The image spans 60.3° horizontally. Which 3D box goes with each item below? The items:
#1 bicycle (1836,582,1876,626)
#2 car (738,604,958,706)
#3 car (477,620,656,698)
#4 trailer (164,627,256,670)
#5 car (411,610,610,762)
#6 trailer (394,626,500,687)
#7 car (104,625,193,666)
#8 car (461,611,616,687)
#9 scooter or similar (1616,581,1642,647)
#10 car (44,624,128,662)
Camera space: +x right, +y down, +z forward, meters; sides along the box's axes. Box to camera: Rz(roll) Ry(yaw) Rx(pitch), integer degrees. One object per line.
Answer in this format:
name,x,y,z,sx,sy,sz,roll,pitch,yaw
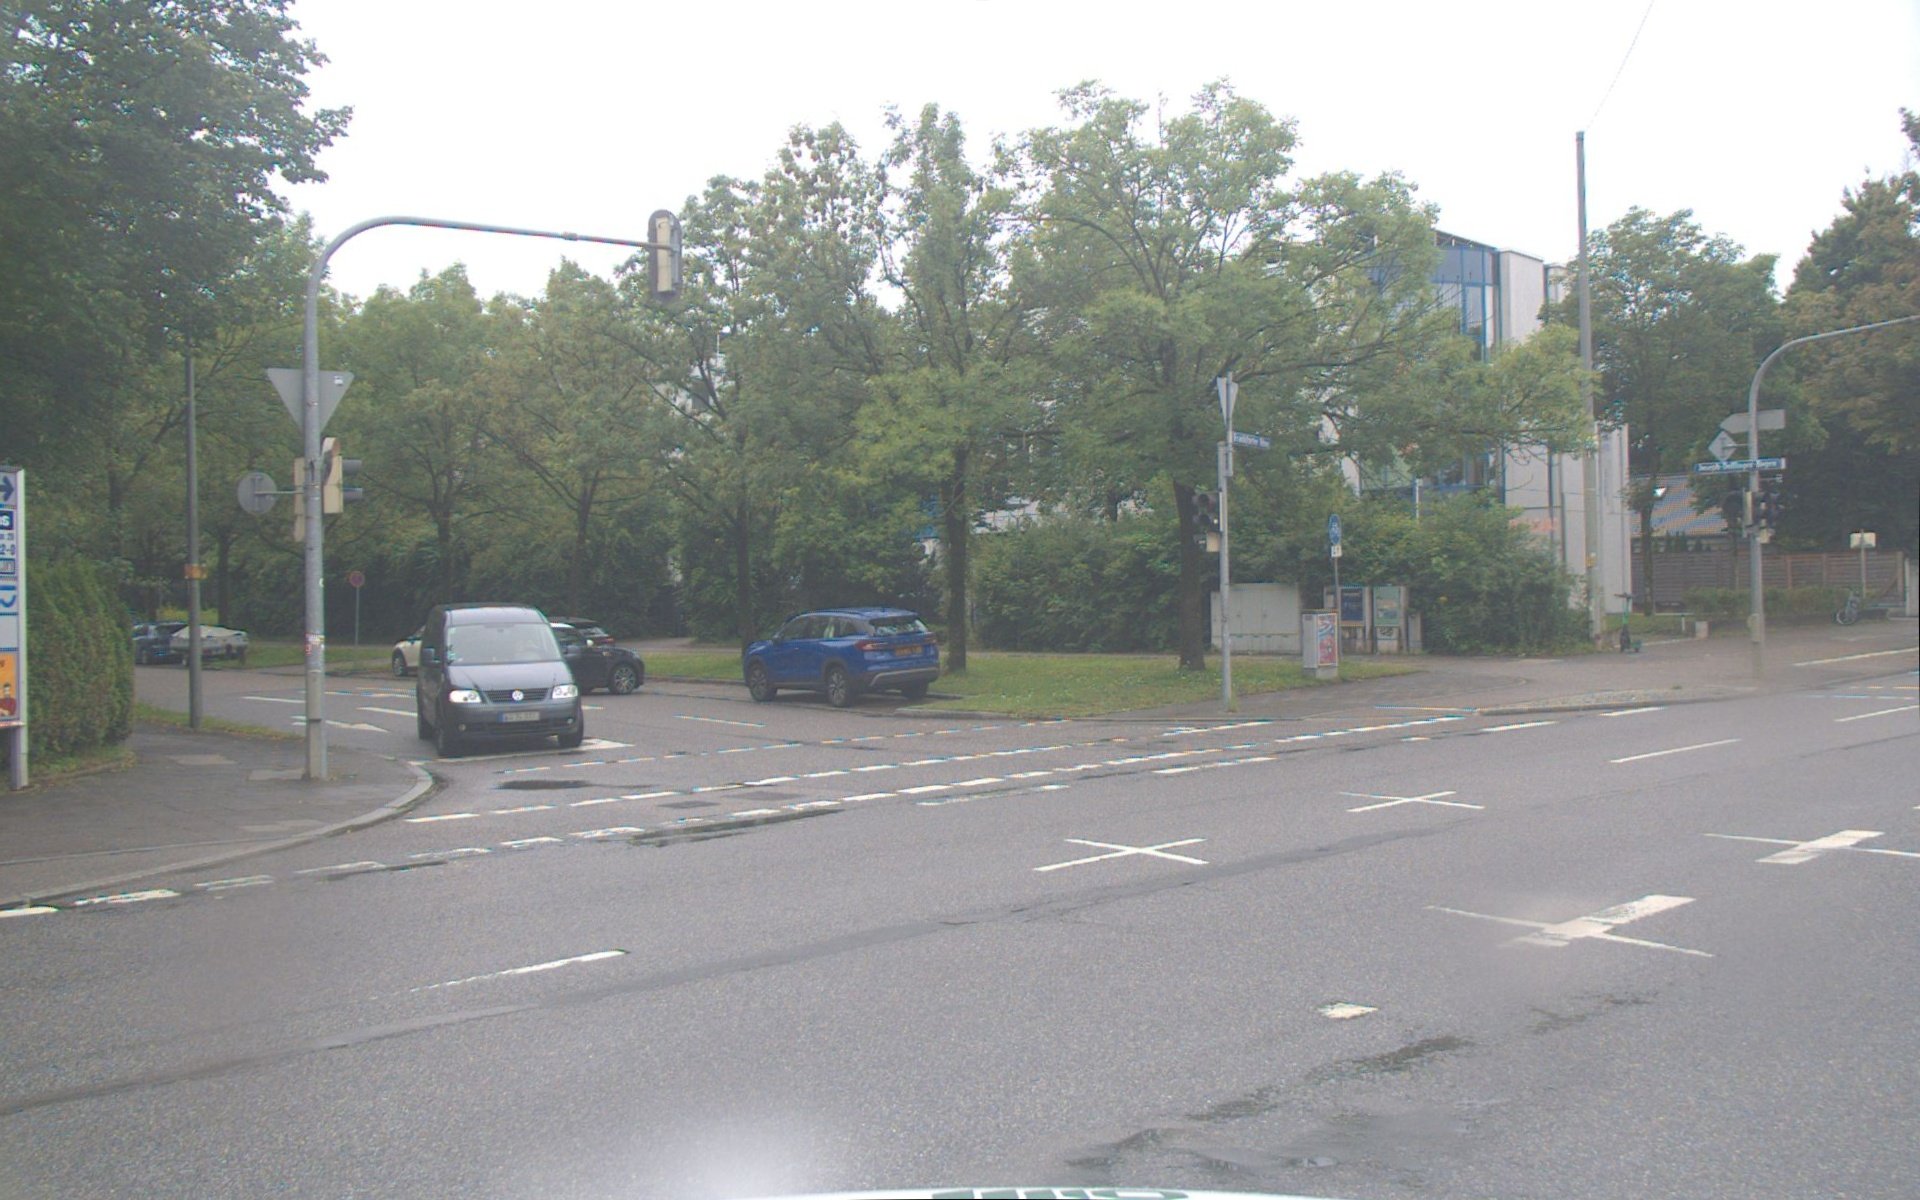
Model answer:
bicycle,27.712,0.106,51.134,0.573,1.318,2.440,0,1,41
car,-2.108,0.971,30.017,1.979,1.602,4.227,-4,1,-36
car,-8.037,1.179,33.778,3.234,1.469,1.649,-1,-1,-29
trailer,-24.833,1.570,54.716,3.361,1.284,1.549,0,1,41
car,-6.109,1.069,22.084,1.966,1.753,4.757,-1,-1,-23
trailer,-13.449,1.435,43.247,1.439,1.438,3.292,-1,1,-41
car,-28.286,1.558,57.655,3.359,1.284,1.550,0,1,40
car,-10.020,1.173,39.122,1.749,1.602,4.099,-4,1,-43
scooter or similar,14.884,0.298,36.795,0.363,1.449,1.403,0,1,29
car,-32.152,1.547,60.816,3.359,1.284,1.550,0,1,40
